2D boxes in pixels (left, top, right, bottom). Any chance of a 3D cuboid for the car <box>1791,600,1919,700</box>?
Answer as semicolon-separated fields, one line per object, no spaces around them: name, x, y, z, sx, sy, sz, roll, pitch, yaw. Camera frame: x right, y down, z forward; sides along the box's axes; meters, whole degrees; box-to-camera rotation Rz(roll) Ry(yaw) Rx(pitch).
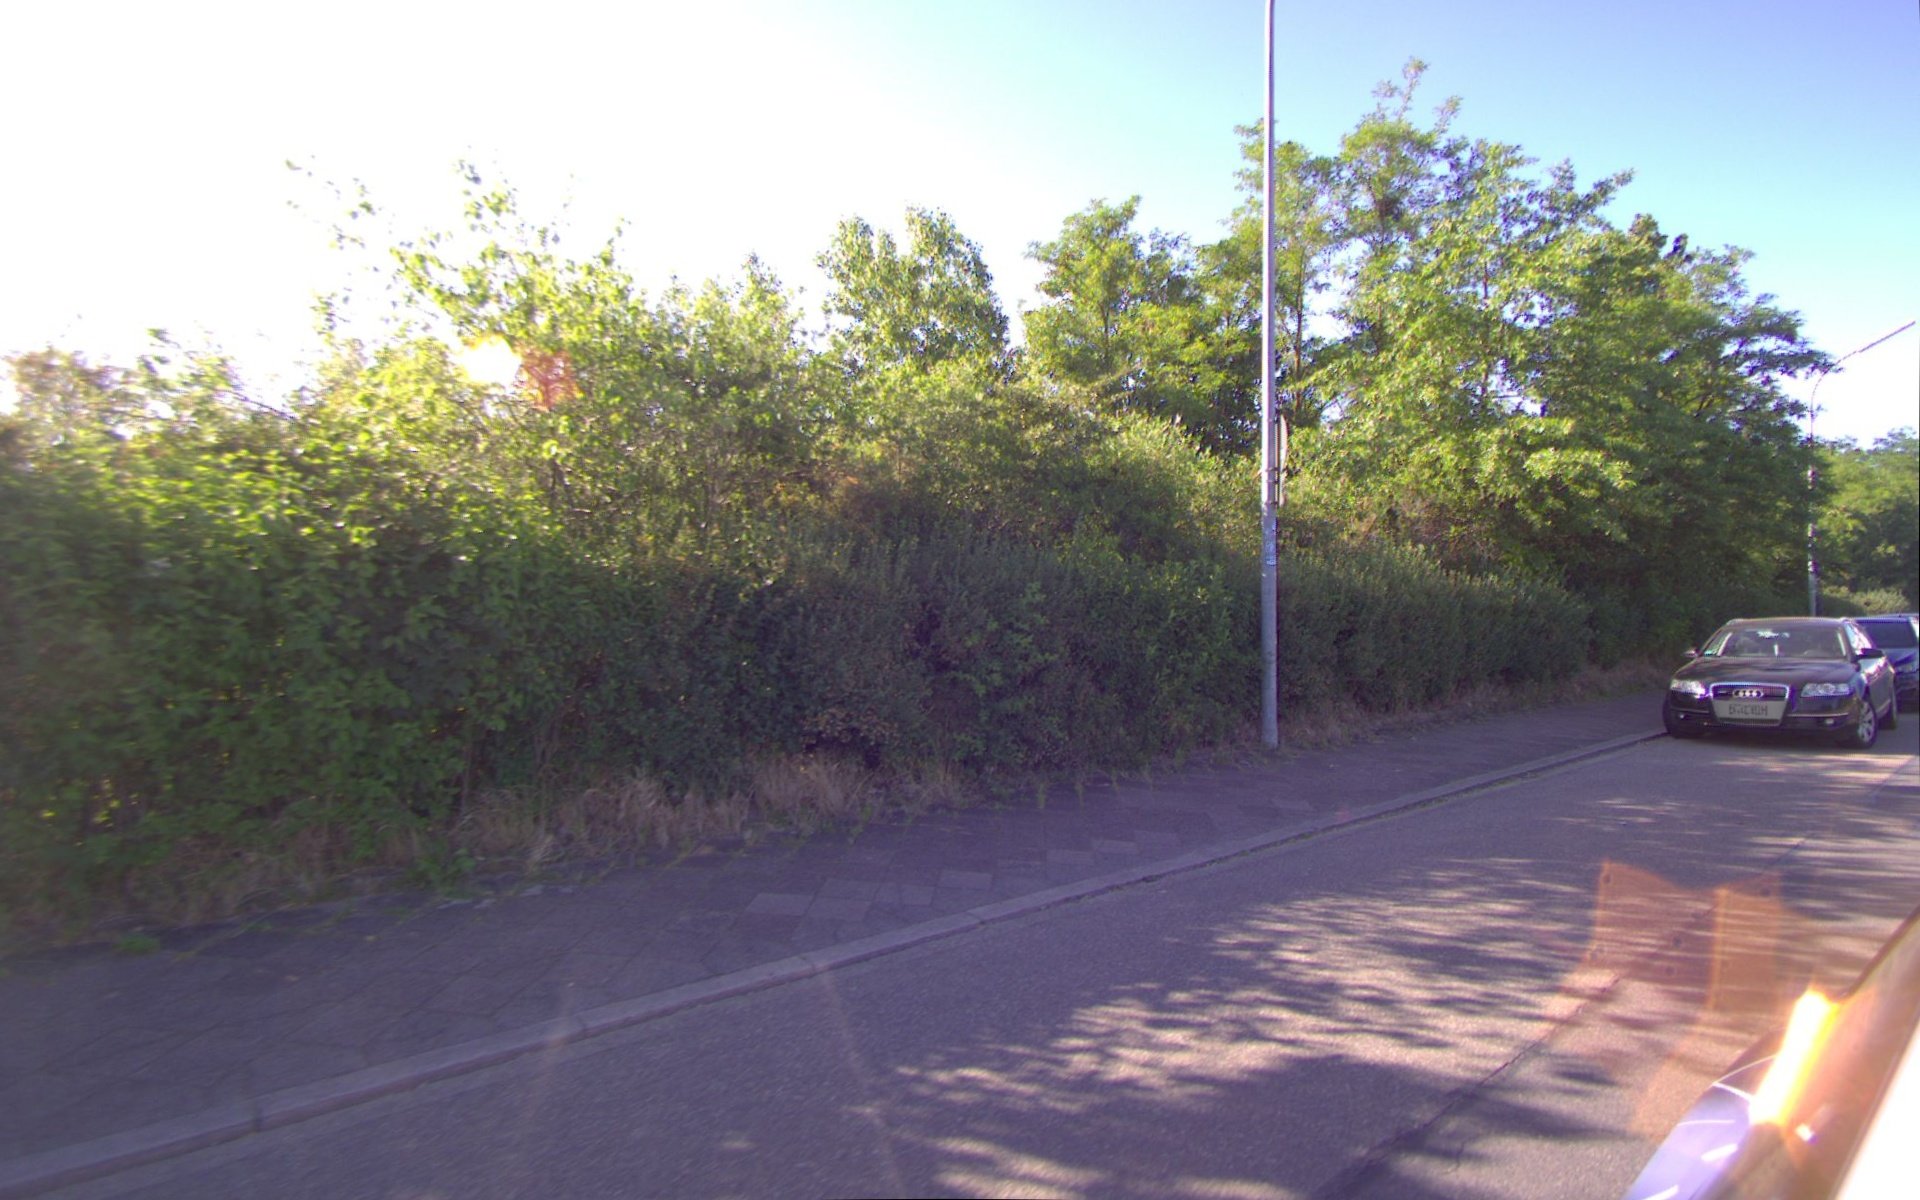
car;15.347;0.746;16.781;4.575;1.463;1.657;0;-3;-42

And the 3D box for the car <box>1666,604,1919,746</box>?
car;10.498;0.812;12.612;4.576;1.432;1.755;0;-3;-42

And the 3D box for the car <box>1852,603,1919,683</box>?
car;19.561;0.815;20.549;3.772;1.505;1.657;0;-3;-41
